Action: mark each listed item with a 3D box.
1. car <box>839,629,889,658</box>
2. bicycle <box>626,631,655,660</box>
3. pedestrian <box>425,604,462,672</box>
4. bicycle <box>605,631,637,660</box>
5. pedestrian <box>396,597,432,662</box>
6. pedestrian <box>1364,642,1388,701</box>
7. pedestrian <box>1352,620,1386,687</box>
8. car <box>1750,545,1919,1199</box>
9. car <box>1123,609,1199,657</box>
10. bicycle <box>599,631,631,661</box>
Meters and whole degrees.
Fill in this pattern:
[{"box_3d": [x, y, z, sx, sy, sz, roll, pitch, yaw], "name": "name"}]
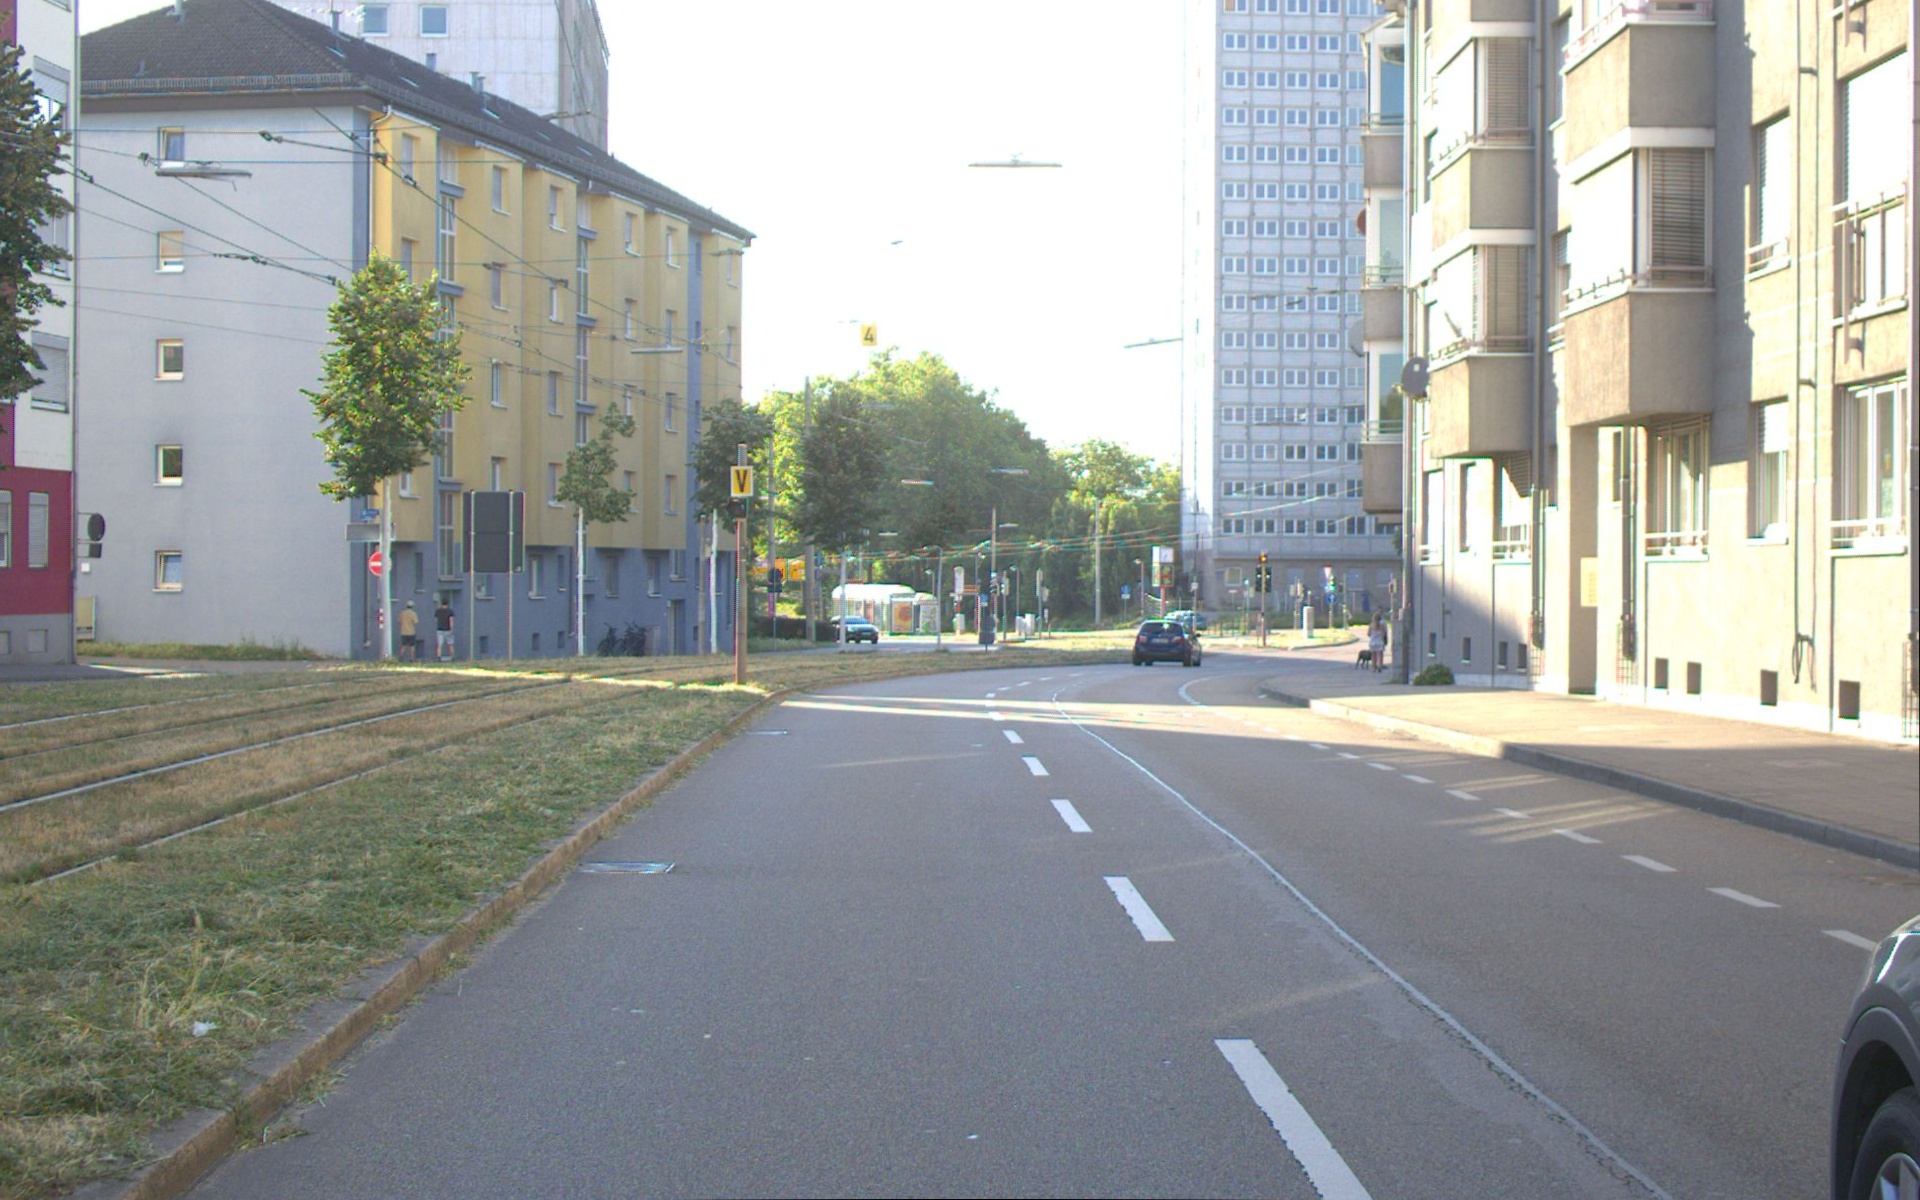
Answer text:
[{"box_3d": [-5.104, 2.329, 183.005, 1.794, 1.464, 4.794, -2, -1, 9], "name": "car"}, {"box_3d": [-10.621, 1.522, 114.309, 0.427, 0.956, 1.911, 0, 0, 11], "name": "bicycle"}, {"box_3d": [-13.765, 1.012, 91.603, 0.593, 1.767, 0.885, 5, 1, 10], "name": "pedestrian"}, {"box_3d": [-11.035, 1.474, 111.973, 0.427, 0.922, 1.911, 4, 0, 11], "name": "bicycle"}, {"box_3d": [-14.547, 0.778, 91.571, 0.616, 1.689, 0.706, 5, 1, 10], "name": "pedestrian"}, {"box_3d": [9.444, 1.627, 78.070, 0.514, 1.340, 0.609, -1, -1, 6], "name": "pedestrian"}, {"box_3d": [10.848, 1.417, 91.132, 0.830, 1.766, 0.995, 0, 0, 10], "name": "pedestrian"}, {"box_3d": [2.313, 0.722, 3.980, 1.766, 1.582, 4.068, 0, 0, -1], "name": "car"}, {"box_3d": [6.156, 0.993, 104.990, 1.773, 1.417, 3.854, 0, 0, 12], "name": "car"}, {"box_3d": [-11.119, 1.471, 110.721, 0.427, 0.922, 1.911, 4, 0, 11], "name": "bicycle"}]
